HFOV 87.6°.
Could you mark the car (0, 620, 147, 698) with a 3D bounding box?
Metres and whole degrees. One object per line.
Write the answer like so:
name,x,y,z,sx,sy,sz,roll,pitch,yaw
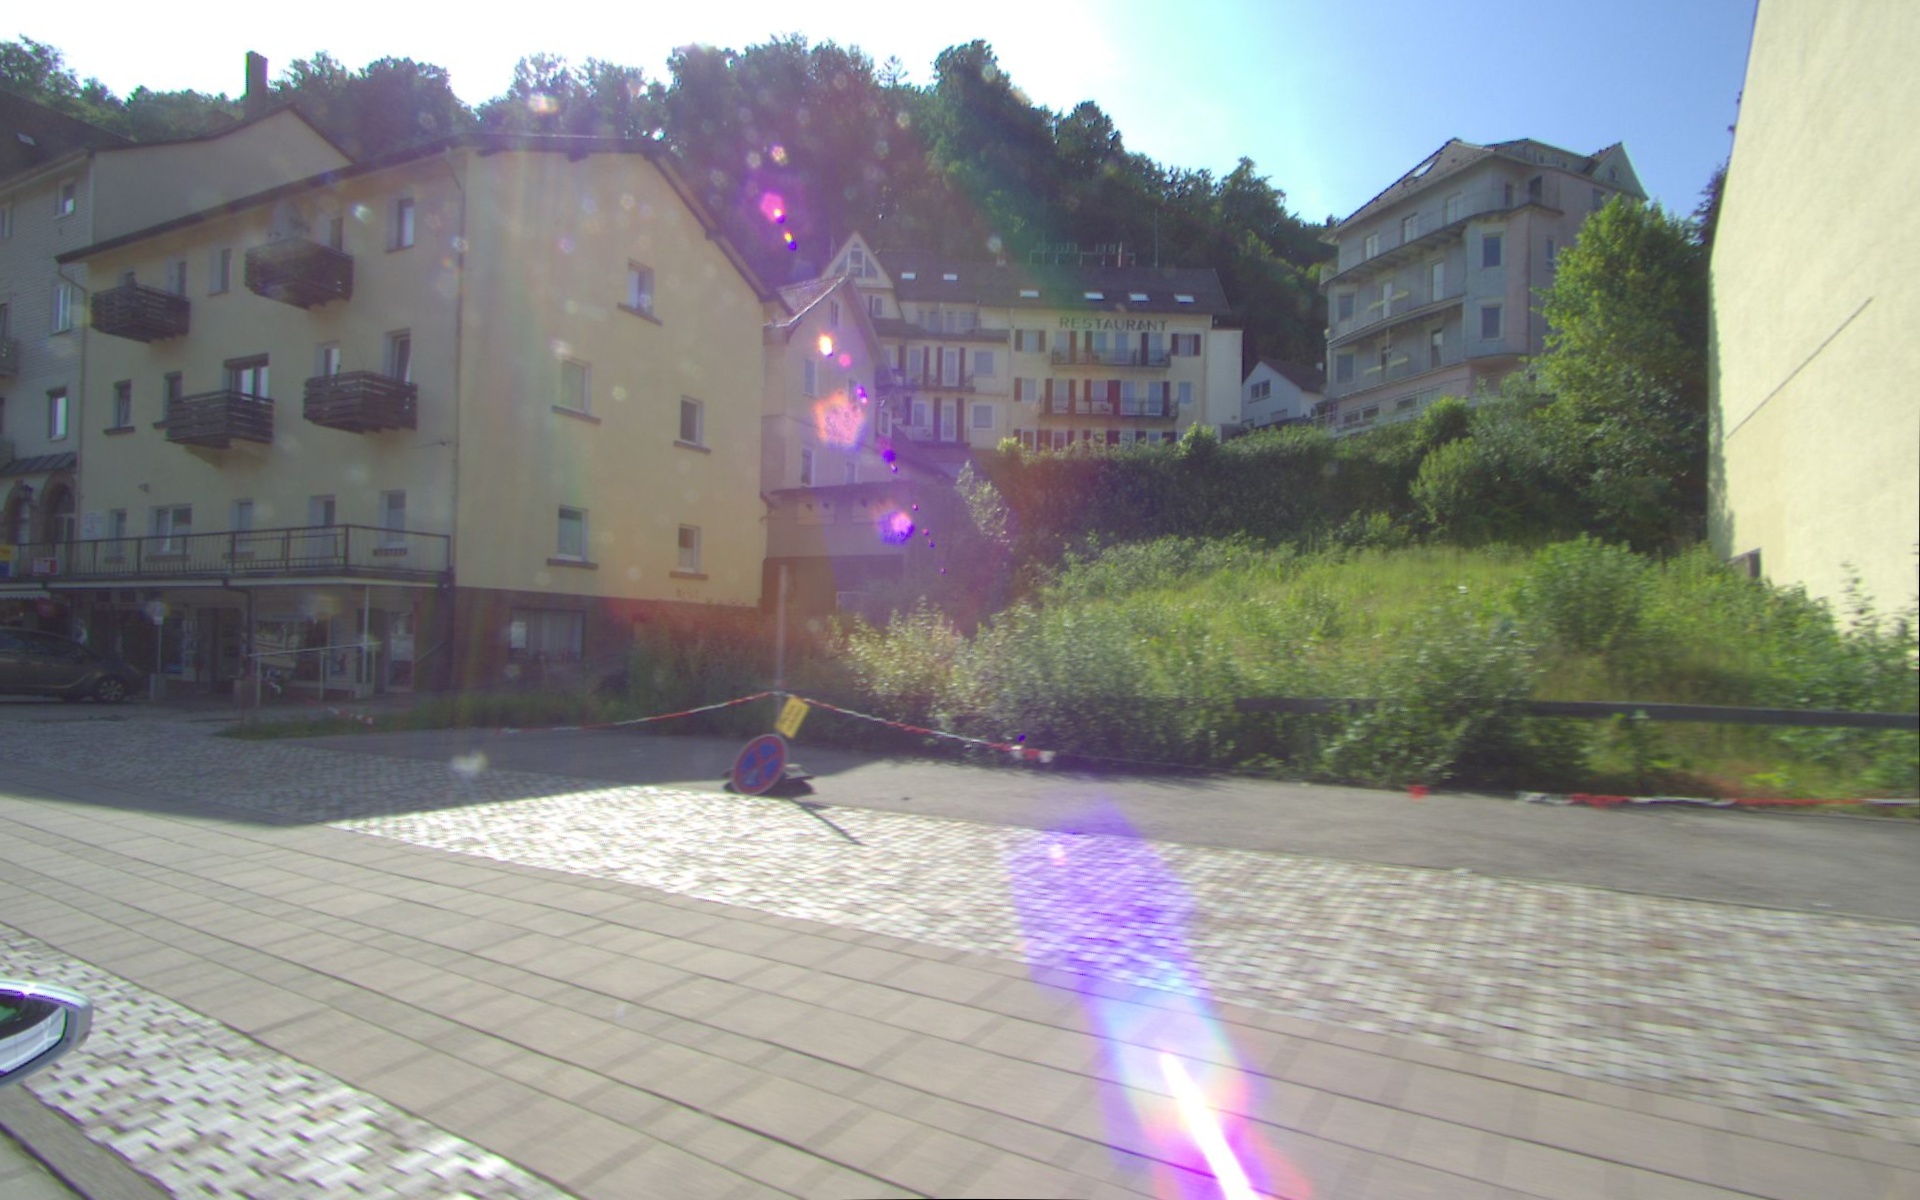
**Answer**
car,-20.204,1.260,21.462,1.732,1.573,3.865,1,-5,25
